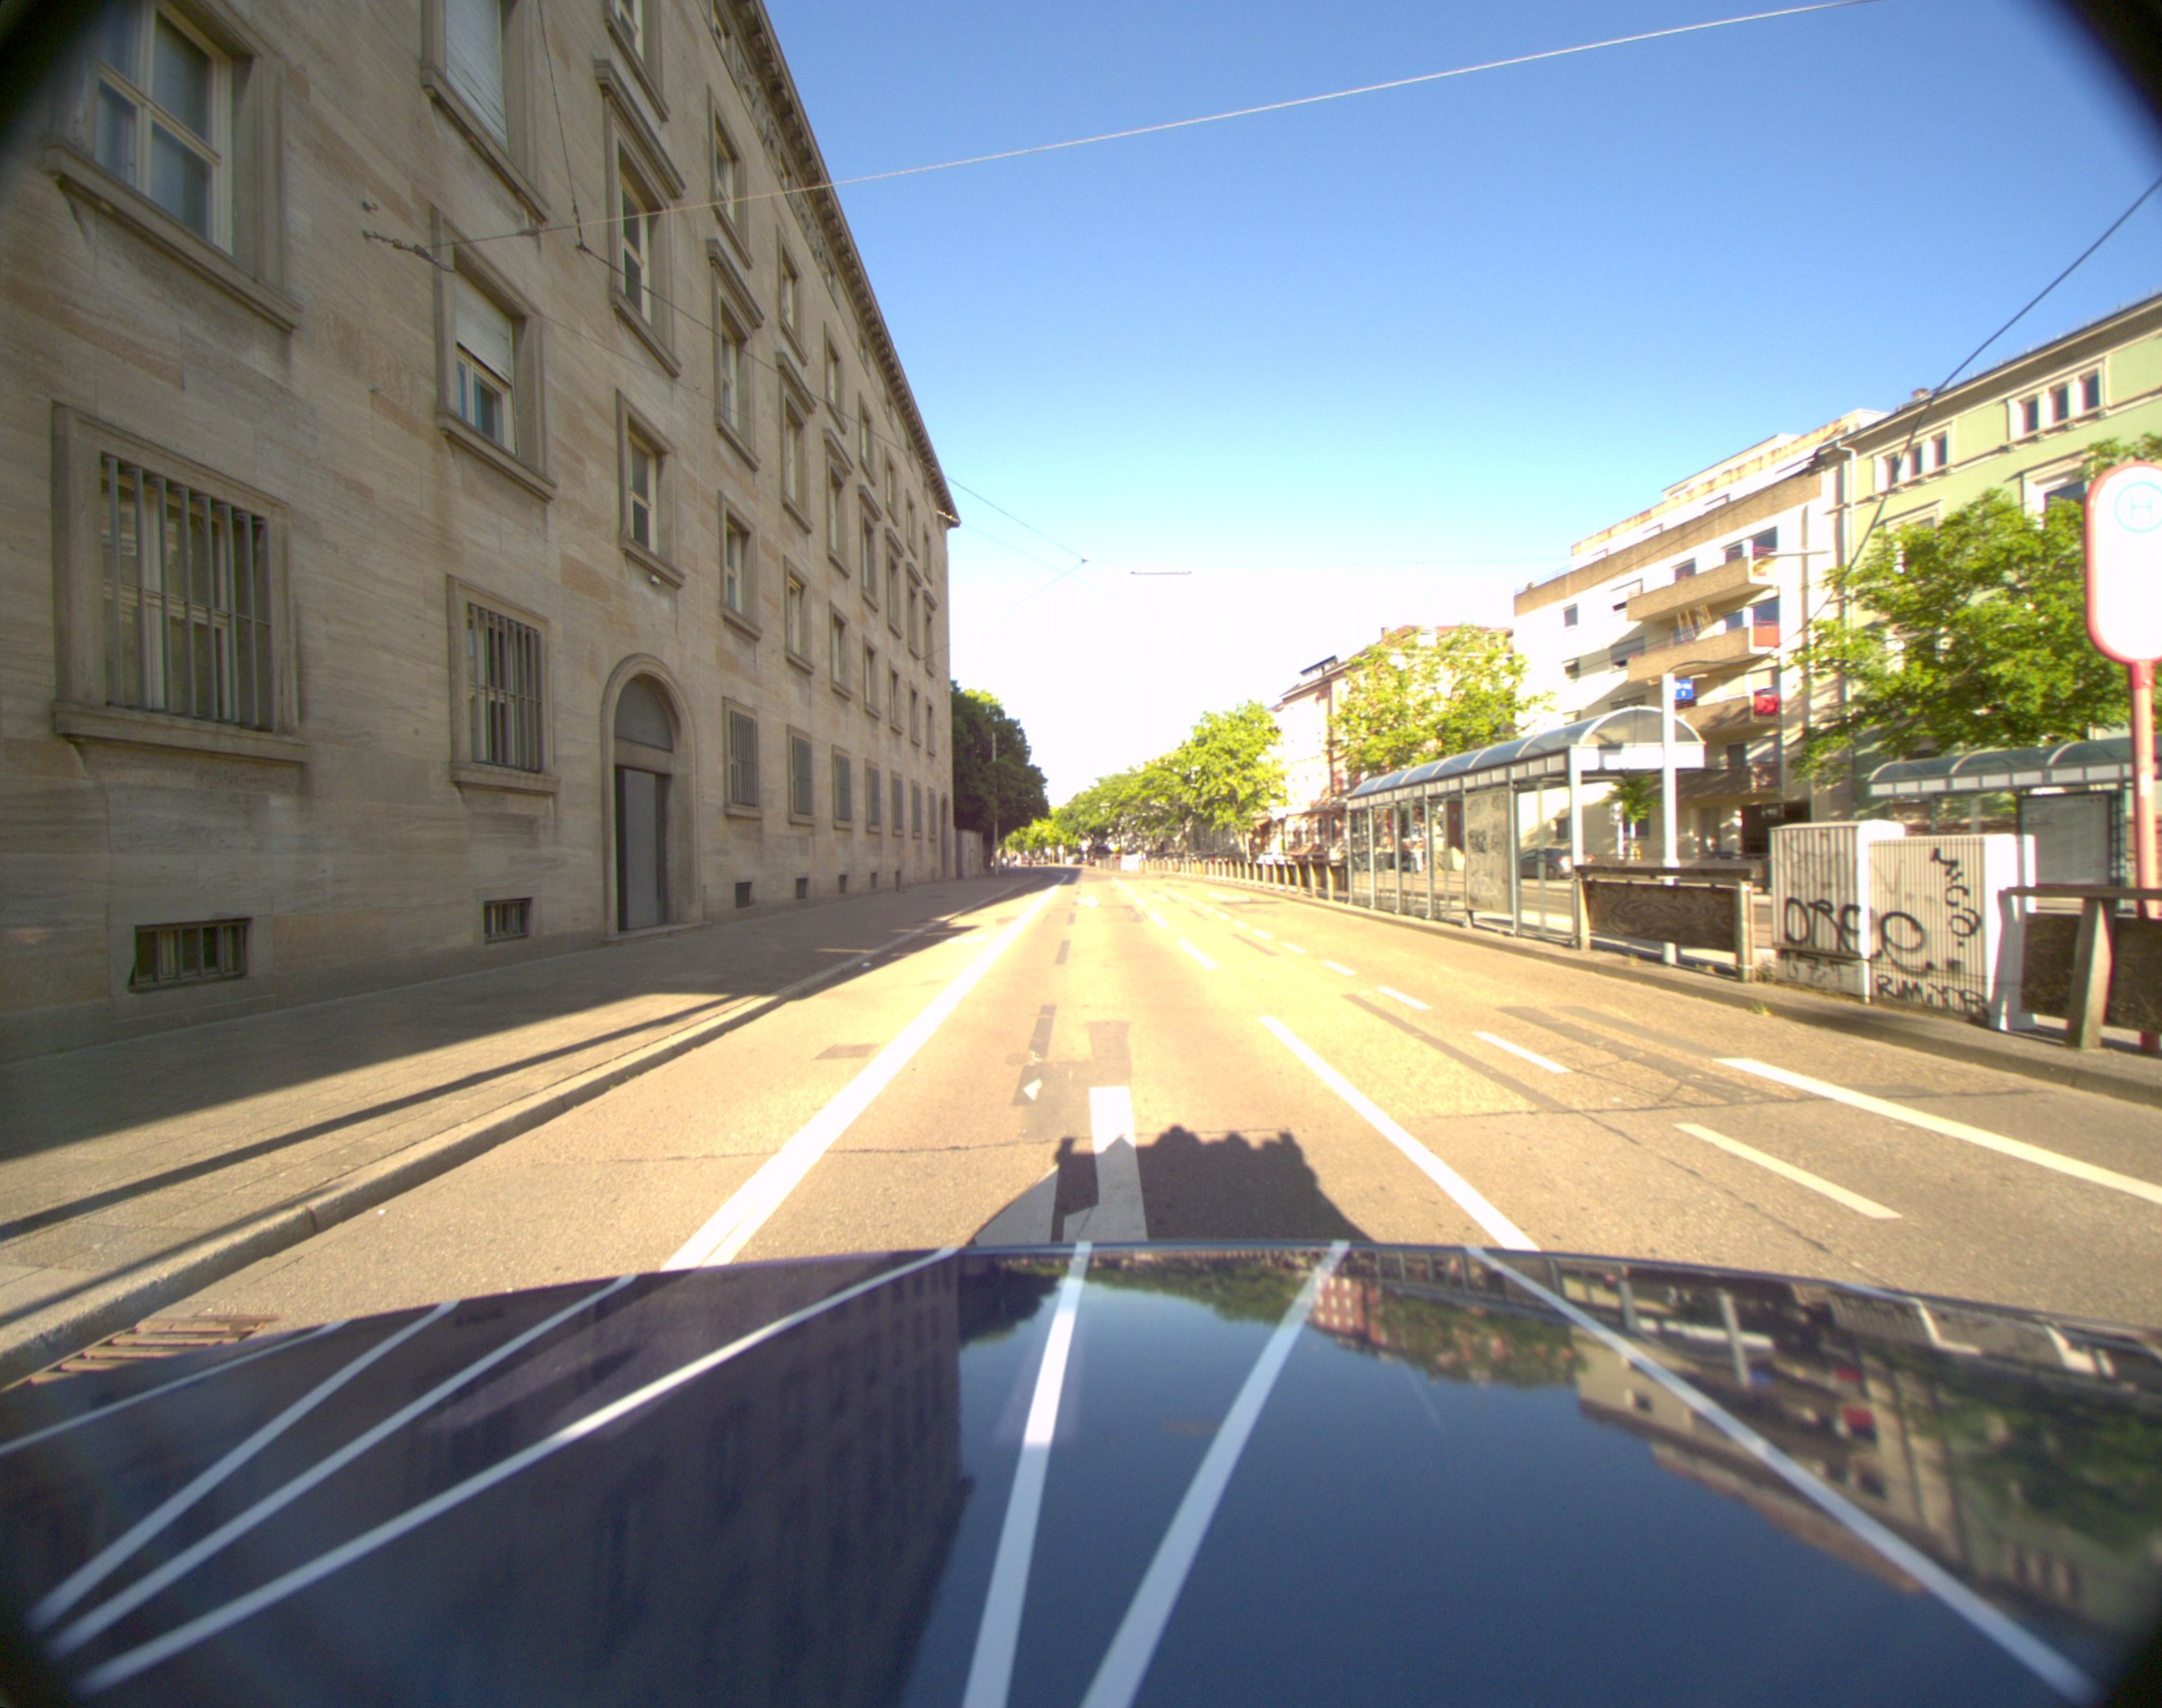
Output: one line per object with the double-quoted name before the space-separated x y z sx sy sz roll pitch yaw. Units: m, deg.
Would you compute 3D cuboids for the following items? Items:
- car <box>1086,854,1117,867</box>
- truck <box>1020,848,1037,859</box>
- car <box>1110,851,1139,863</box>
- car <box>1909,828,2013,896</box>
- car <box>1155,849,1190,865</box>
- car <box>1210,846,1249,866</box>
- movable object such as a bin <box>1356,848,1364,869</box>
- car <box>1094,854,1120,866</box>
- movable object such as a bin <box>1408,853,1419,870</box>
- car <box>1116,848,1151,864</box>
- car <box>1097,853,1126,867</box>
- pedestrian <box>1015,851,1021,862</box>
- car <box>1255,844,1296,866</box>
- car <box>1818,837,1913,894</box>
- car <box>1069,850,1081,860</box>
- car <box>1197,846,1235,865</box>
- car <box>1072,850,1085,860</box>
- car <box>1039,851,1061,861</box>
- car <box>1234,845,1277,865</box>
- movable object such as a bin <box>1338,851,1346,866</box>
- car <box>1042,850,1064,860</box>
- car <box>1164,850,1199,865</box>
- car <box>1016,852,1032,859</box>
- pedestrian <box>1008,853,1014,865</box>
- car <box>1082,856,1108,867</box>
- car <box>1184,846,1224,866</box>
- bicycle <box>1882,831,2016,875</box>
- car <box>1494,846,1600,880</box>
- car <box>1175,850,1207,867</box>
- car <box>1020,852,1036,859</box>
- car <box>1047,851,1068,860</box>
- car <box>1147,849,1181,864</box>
"car" 3.143 1.023 116.572 4.366 1.704 1.944 -4 2 -35
"truck" -13.242 -0.116 190.849 3.774 2.409 1.671 -4 1 -13
"car" 6.275 0.444 109.137 4.208 1.549 1.636 -4 1 -41
"car" 24.431 0.154 21.226 4.524 1.632 1.585 -4 2 -45
"car" 10.501 0.338 86.807 3.877 1.645 1.768 -4 2 -41
"car" 13.983 0.213 71.411 1.630 1.607 3.993 -2 1 43
"movable object such as a bin" 18.809 0.281 51.285 0.380 1.418 0.386 -1 1 0
"car" 3.896 0.857 114.275 1.744 1.511 3.772 -2 2 44
"movable object such as a bin" 21.343 0.491 48.773 0.380 1.090 0.552 -1 2 -6
"car" 6.561 0.238 94.374 4.208 1.788 1.781 -5 3 -41
"car" 4.543 0.837 111.296 4.208 1.714 1.780 -5 2 -44
"pedestrian" -9.495 0.385 114.077 0.872 1.710 0.804 -1 1 -3
"car" 16.339 0.083 63.684 1.731 1.513 3.923 -3 1 41
"car" 23.656 0.285 22.992 4.524 1.417 1.868 -4 2 -45
"car" -1.225 0.170 146.338 1.673 1.886 3.211 -1 0 -12
"car" 13.172 0.161 74.066 1.630 1.607 3.993 -2 1 43
"car" -0.435 0.136 141.912 1.673 1.886 3.211 -1 0 -12
"car" -6.616 0.393 163.230 4.311 1.940 1.670 -4 1 -18
"car" 15.366 0.094 66.720 3.929 1.499 1.685 -5 1 -43
"movable object such as a bin" 18.024 0.314 52.475 0.380 1.062 0.639 -1 1 0
"car" -5.922 0.238 161.077 4.311 1.940 1.670 -4 1 -18
"car" 11.175 0.410 84.323 3.829 1.477 1.766 -4 2 -41
"car" -14.791 0.313 197.161 3.775 1.584 1.670 -4 1 -18
"pedestrian" -10.589 0.726 114.843 0.831 1.710 0.804 -1 1 -6
"car" 2.220 1.238 118.783 4.007 1.478 1.777 -4 2 -44
"car" 12.665 0.179 77.848 4.293 1.713 1.703 -6 3 -43
"bicycle" 29.166 -0.039 25.636 0.719 1.390 3.007 -1 1 -14
"car" 20.833 0.358 34.210 1.711 1.402 4.289 -1 0 -8
"car" 11.762 0.486 81.173 3.286 1.524 1.703 -6 2 -43
"car" -13.610 0.292 193.885 3.775 1.584 1.670 -4 1 -18
"car" -4.866 0.257 157.990 4.105 1.561 1.670 -4 1 -18
"car" 9.880 0.293 89.968 3.877 1.645 1.768 -4 2 -41
